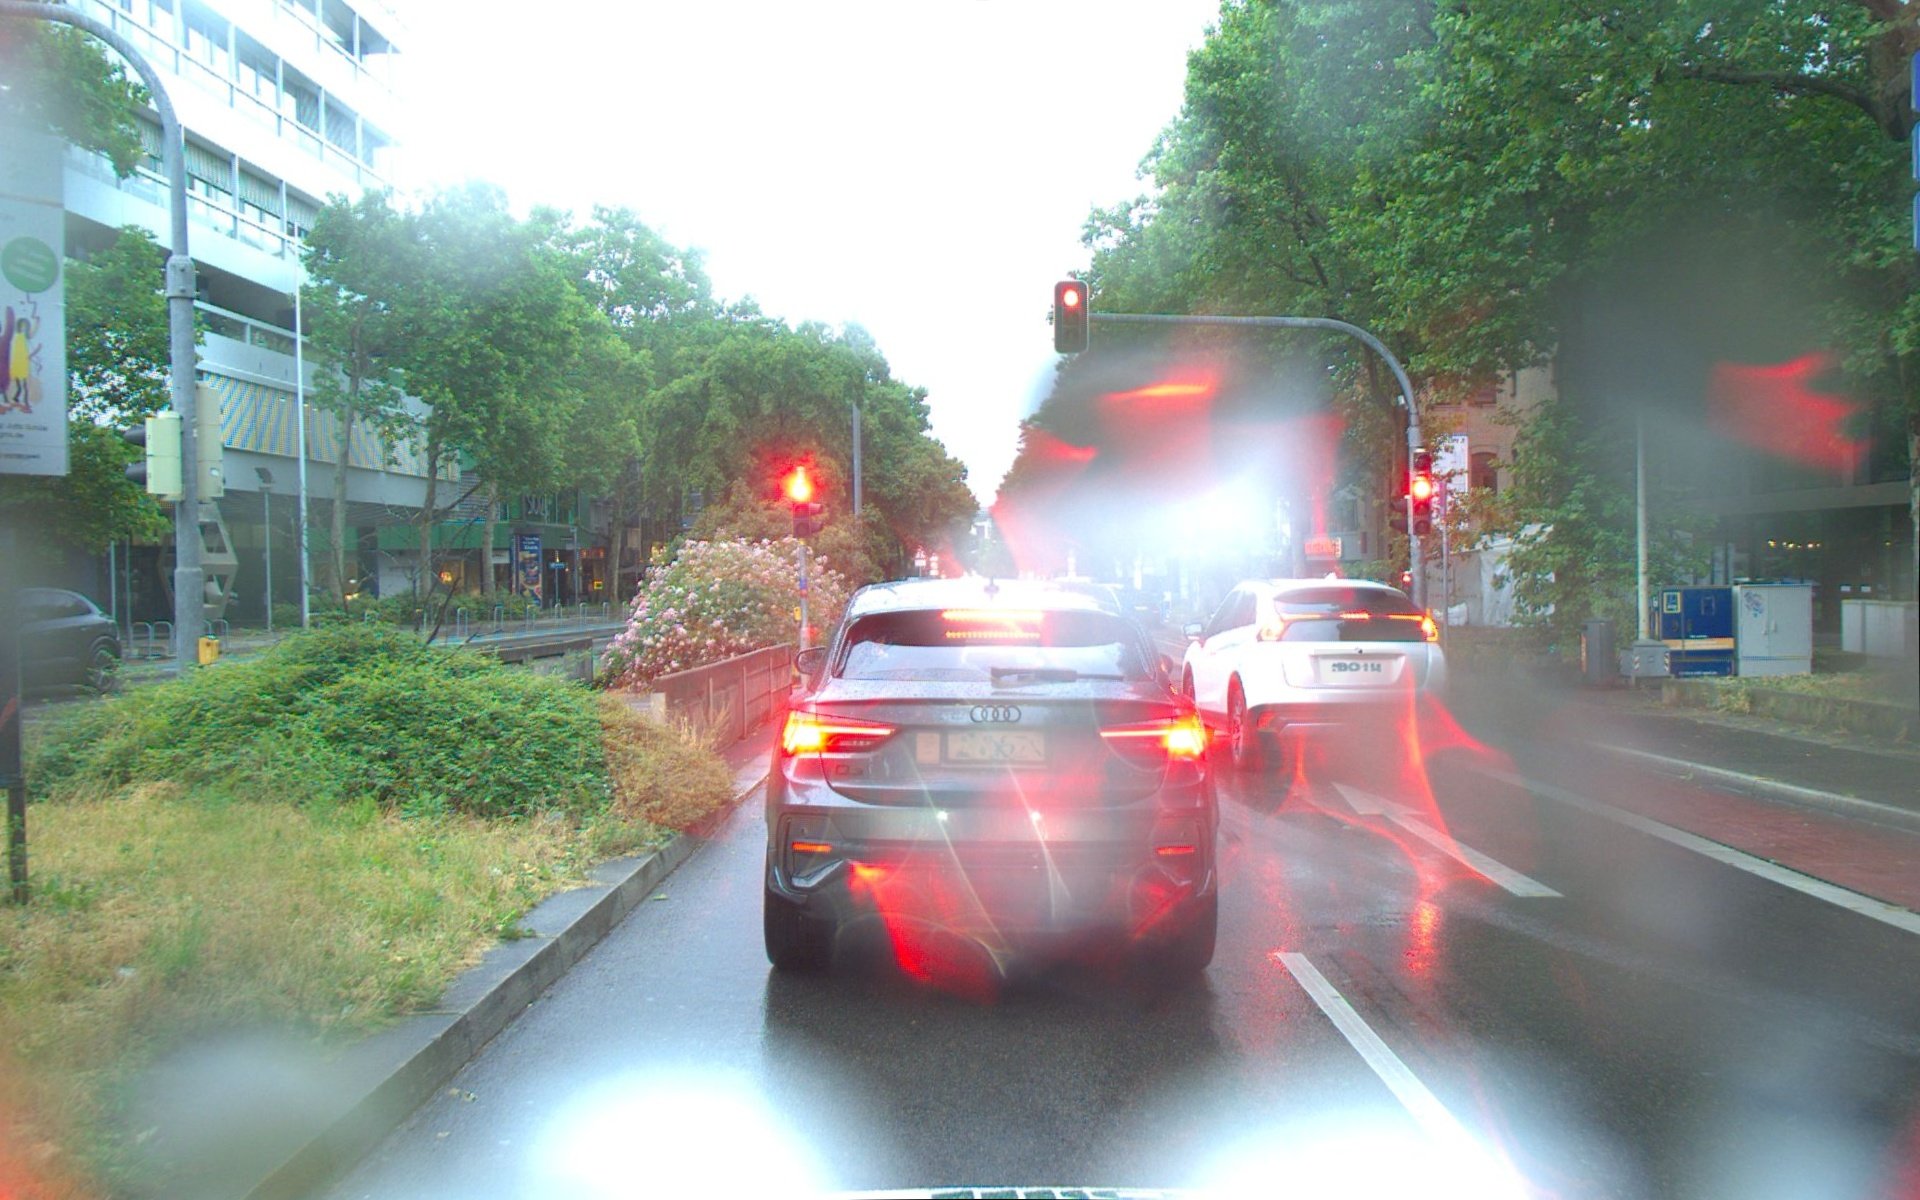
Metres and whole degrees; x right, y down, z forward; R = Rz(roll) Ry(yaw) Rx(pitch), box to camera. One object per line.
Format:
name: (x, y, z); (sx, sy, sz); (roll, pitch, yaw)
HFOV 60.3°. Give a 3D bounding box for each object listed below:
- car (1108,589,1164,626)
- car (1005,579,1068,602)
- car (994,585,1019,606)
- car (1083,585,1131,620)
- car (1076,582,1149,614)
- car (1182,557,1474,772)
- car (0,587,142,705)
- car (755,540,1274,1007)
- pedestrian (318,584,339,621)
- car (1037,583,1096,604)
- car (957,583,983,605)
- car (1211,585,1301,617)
car: (7.319, 0.297, 69.169); (1.835, 1.446, 4.611); (1, 0, 0)
car: (5.967, -0.750, 129.232); (4.549, 1.736, 1.997); (1, 0, 28)
car: (3.828, -0.337, 136.021); (1.952, 1.680, 4.000); (1, 0, 0)
car: (7.071, 0.132, 79.877); (1.693, 1.599, 4.070); (1, 0, -4)
car: (10.080, -0.135, 109.634); (4.519, 2.049, 1.959); (1, 0, 39)
car: (3.282, 0.537, 15.542); (1.839, 1.727, 4.000); (1, 0, 0)
car: (-13.967, 0.616, 23.689); (1.869, 1.612, 4.748); (1, 0, 4)
car: (0.166, 0.597, 7.787); (1.812, 1.630, 3.999); (0, 0, -1)
pedestrian: (-23.951, 0.103, 62.740); (0.626, 1.404, 0.473); (1, -1, -12)
car: (9.035, -0.543, 140.600); (4.549, 1.736, 1.997); (1, 0, 28)
car: (0.732, -0.443, 126.336); (1.857, 1.627, 3.938); (1, 0, -1)
car: (10.611, 0.028, 59.266); (2.831, 1.093, 1.452); (1, 0, 31)
